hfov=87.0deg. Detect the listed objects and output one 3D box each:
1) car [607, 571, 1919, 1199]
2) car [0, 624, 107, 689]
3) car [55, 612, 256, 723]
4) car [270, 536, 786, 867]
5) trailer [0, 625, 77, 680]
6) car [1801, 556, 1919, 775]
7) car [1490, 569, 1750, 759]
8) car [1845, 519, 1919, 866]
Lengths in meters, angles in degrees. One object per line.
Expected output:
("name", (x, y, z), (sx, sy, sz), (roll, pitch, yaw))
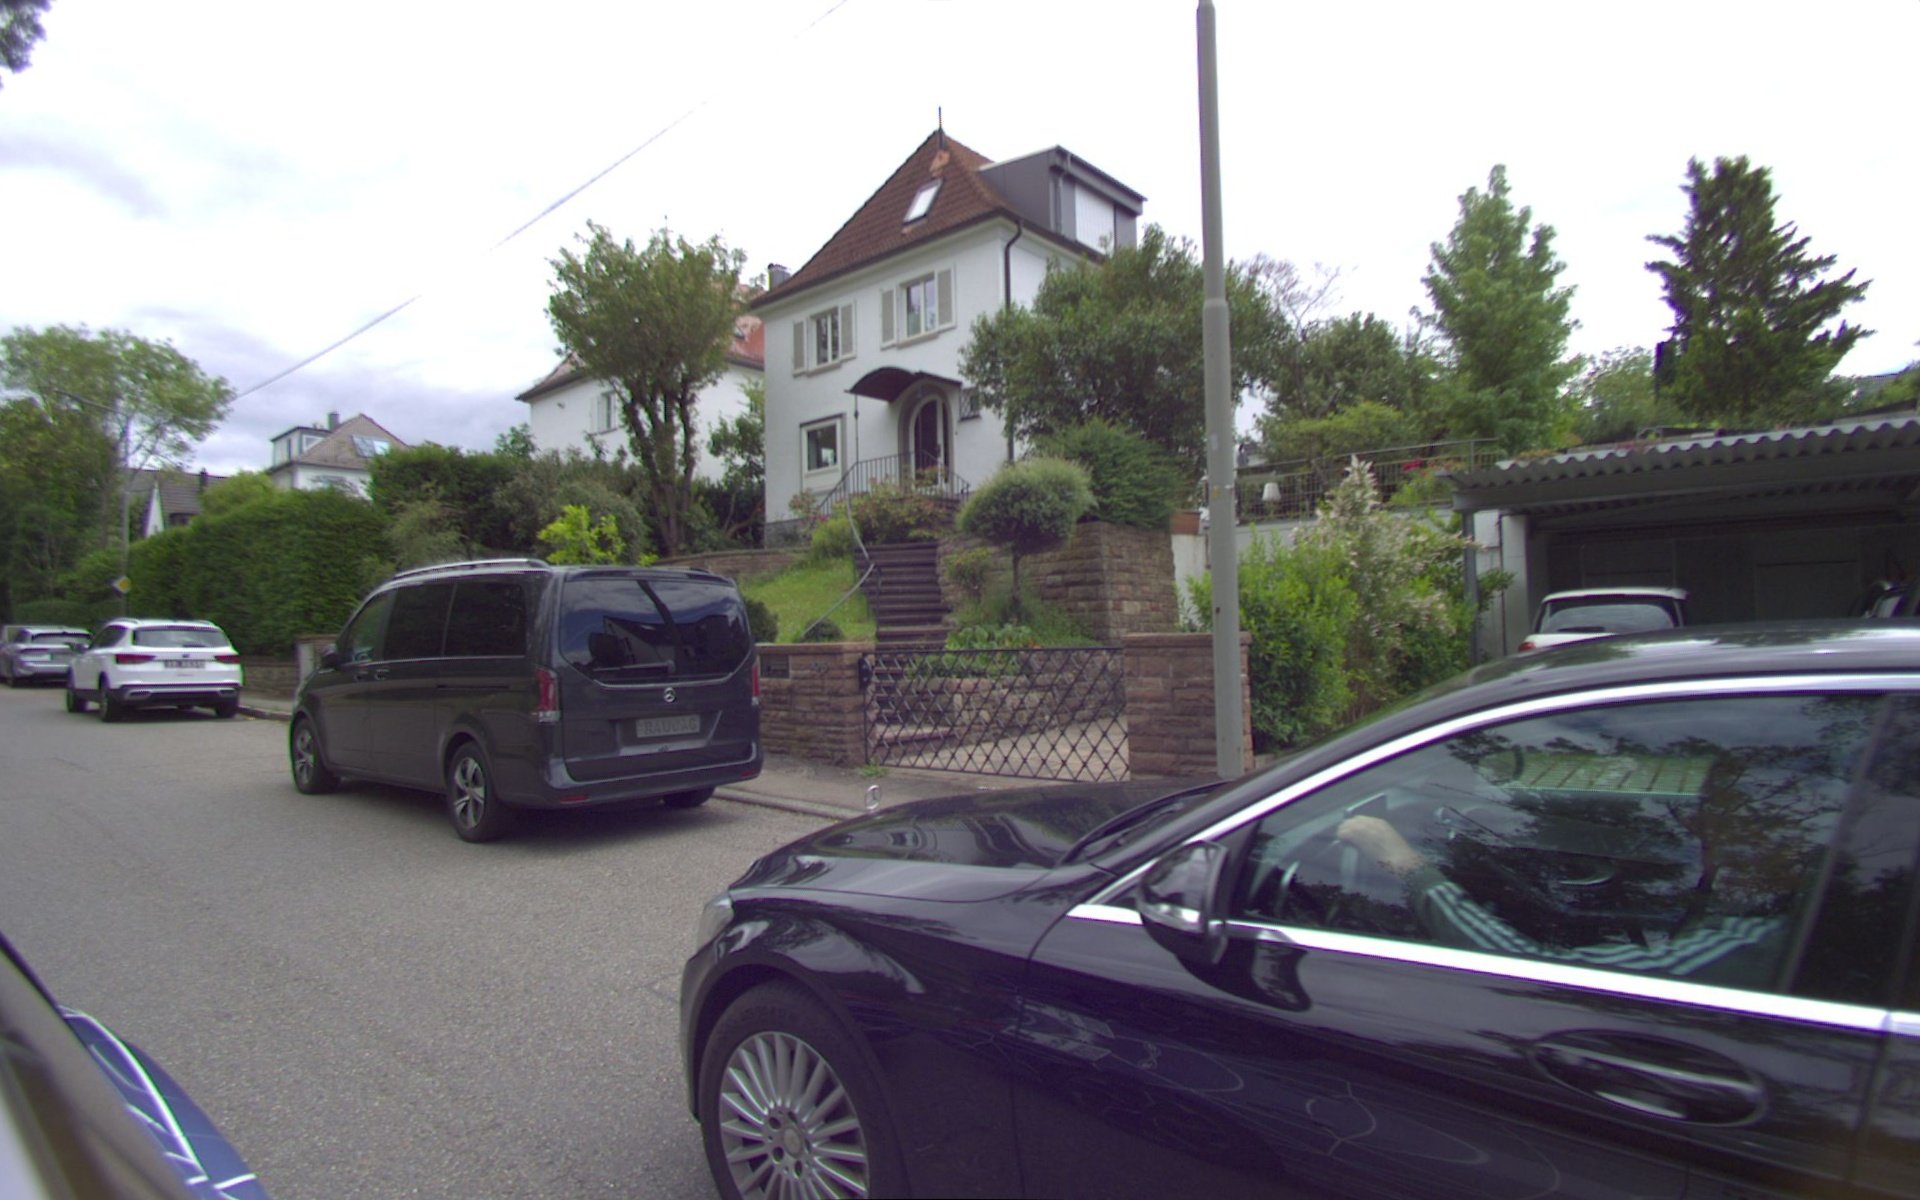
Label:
("car", (1.457, 0.681, 1.741), (4.589, 1.425, 1.844), (-1, -1, 41))
("car", (-23.239, 1.402, 25.663), (4.471, 1.511, 1.745), (-1, -4, 41))
("car", (-13.755, 1.083, 17.220), (4.182, 1.661, 1.820), (-1, -3, 40))
("car", (-3.774, 0.636, 8.279), (5.034, 1.941, 1.844), (-1, -1, 41))
("trailer", (-27.107, 1.475, 29.318), (4.472, 1.507, 1.744), (-1, -3, 42))
("car", (9.157, 0.516, 9.230), (1.997, 1.710, 4.083), (-4, -3, 37))
("car", (7.622, 0.665, 11.525), (1.997, 1.710, 4.572), (-4, -3, 37))
("car", (6.282, 0.474, 5.395), (1.997, 1.710, 4.572), (-1, -2, 37))
